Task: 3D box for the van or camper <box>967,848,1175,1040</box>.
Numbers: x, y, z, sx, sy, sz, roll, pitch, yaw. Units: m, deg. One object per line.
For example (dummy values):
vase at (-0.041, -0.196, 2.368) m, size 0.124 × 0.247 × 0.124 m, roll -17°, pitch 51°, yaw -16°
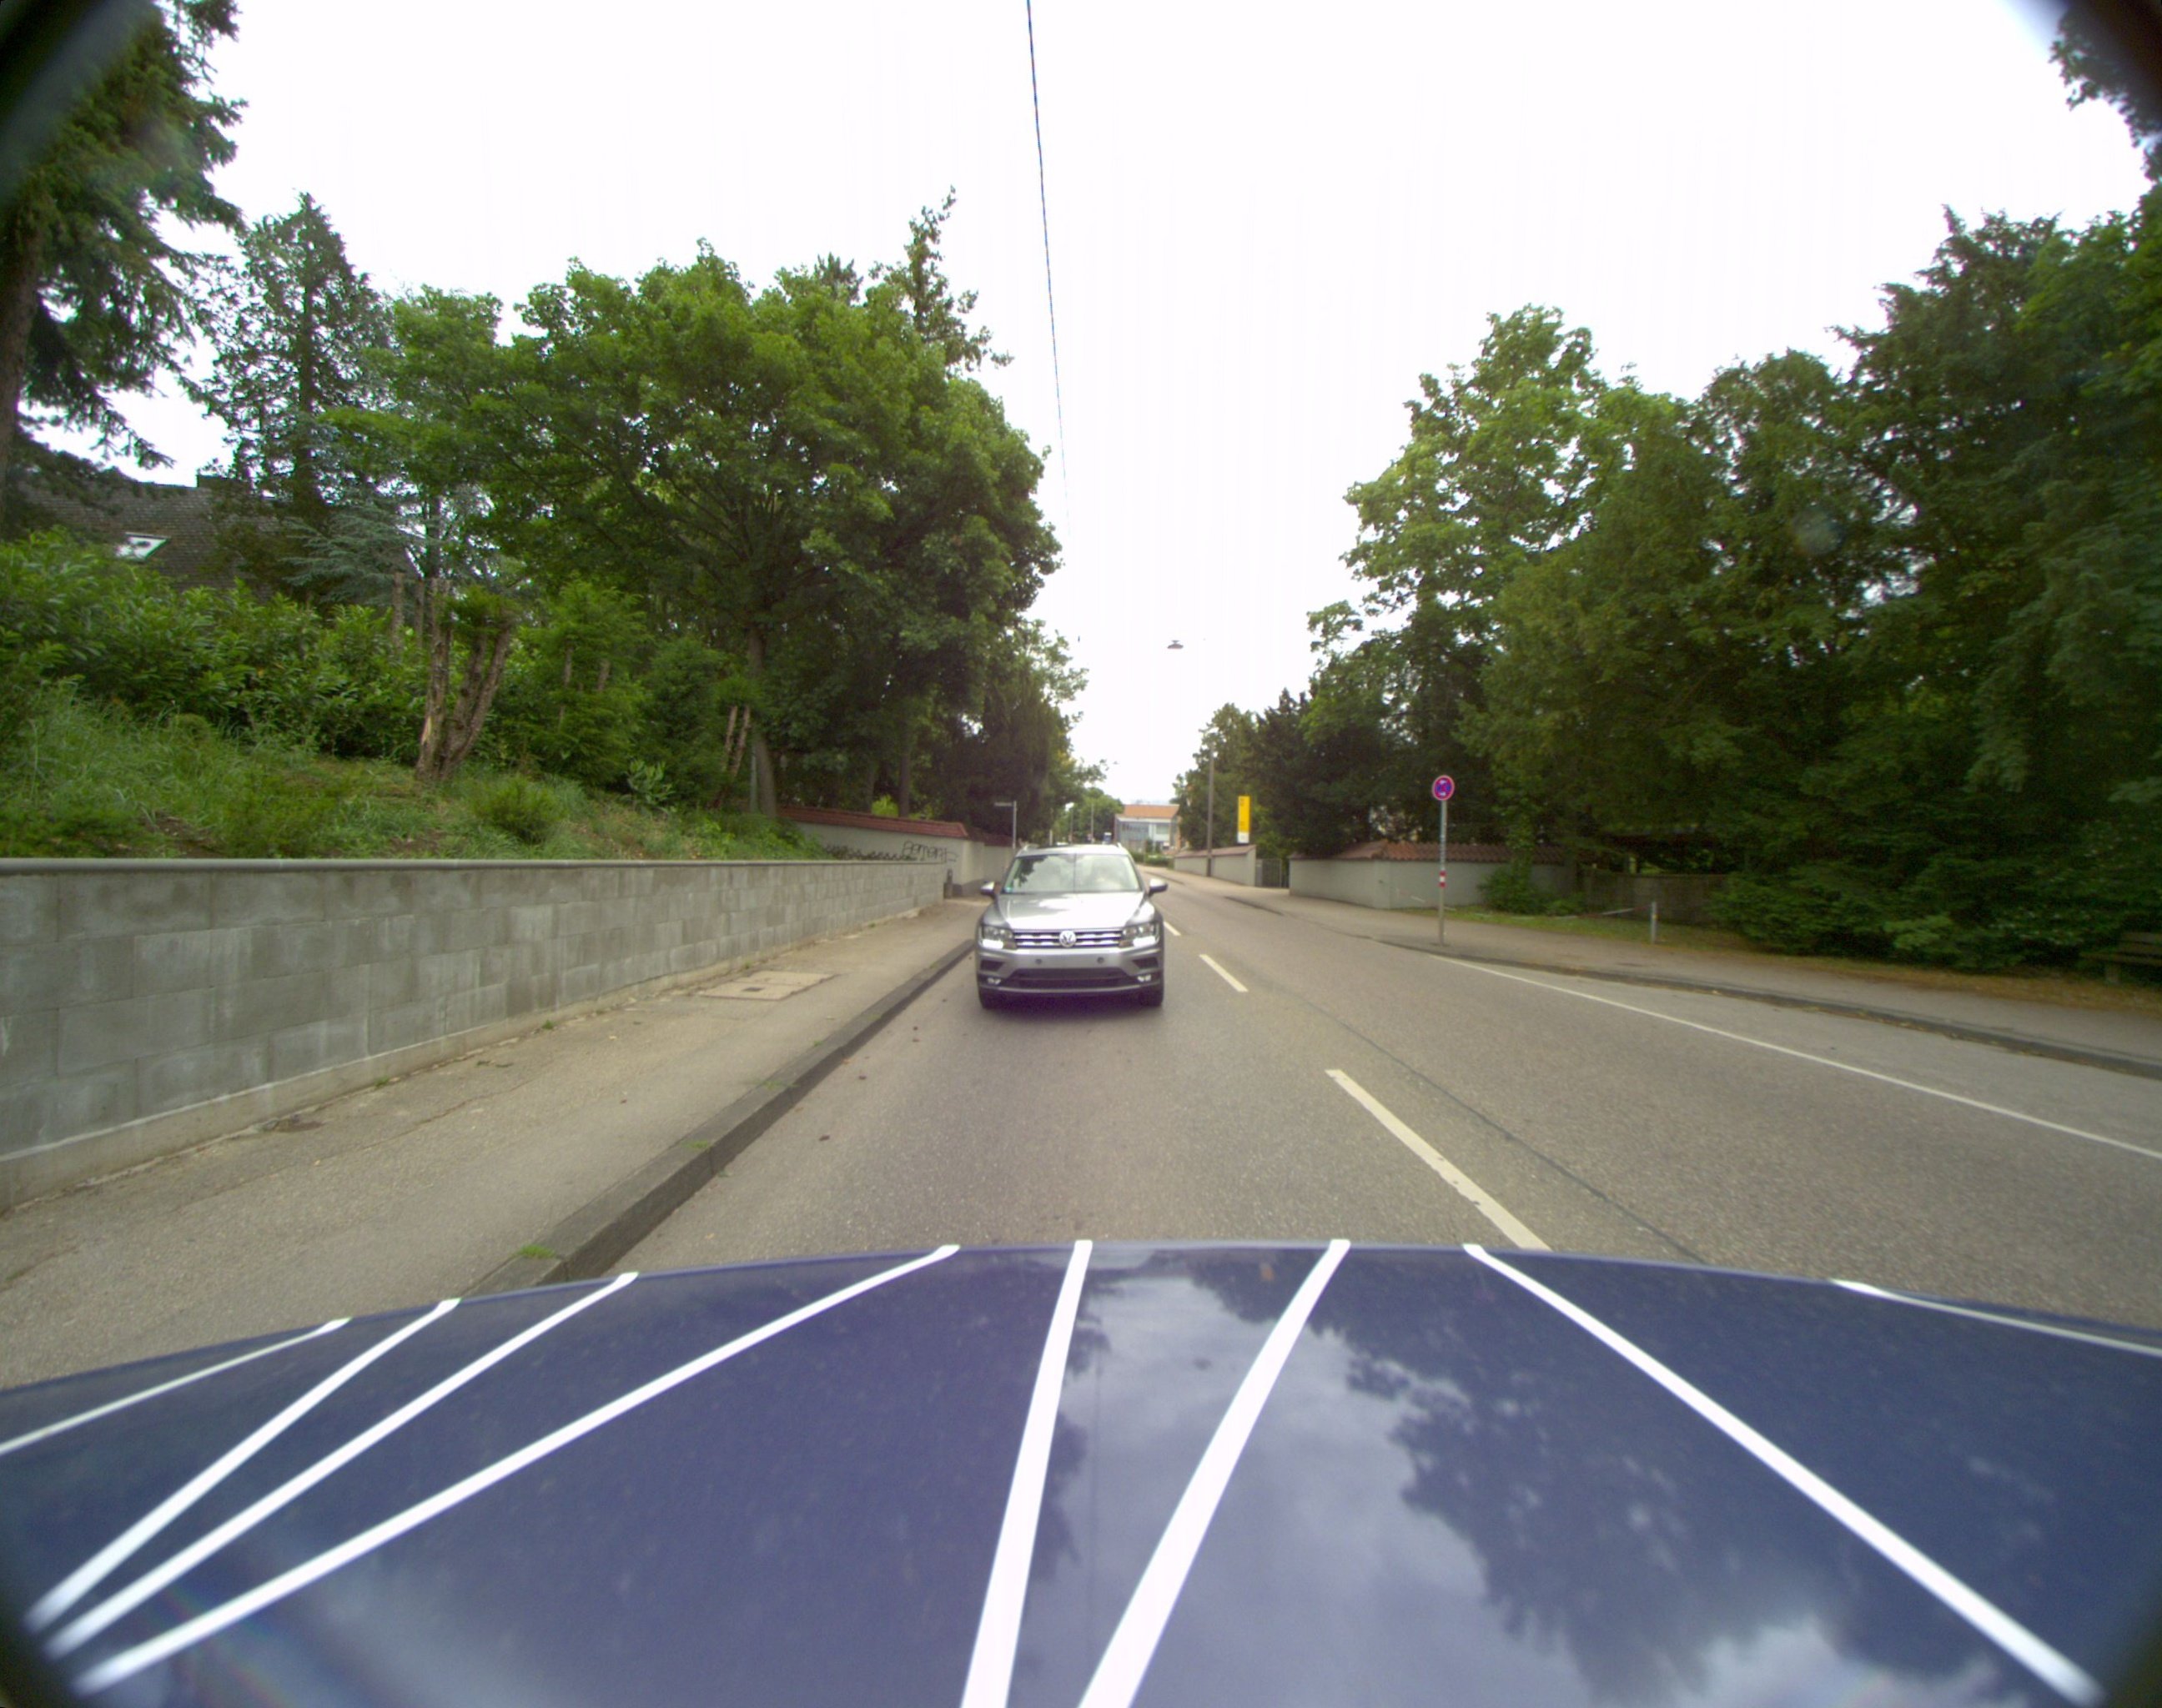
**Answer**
van or camper at (-0.063, 0.770, 8.693) m, size 1.800 × 1.663 × 4.198 m, roll 0°, pitch 0°, yaw 1°
